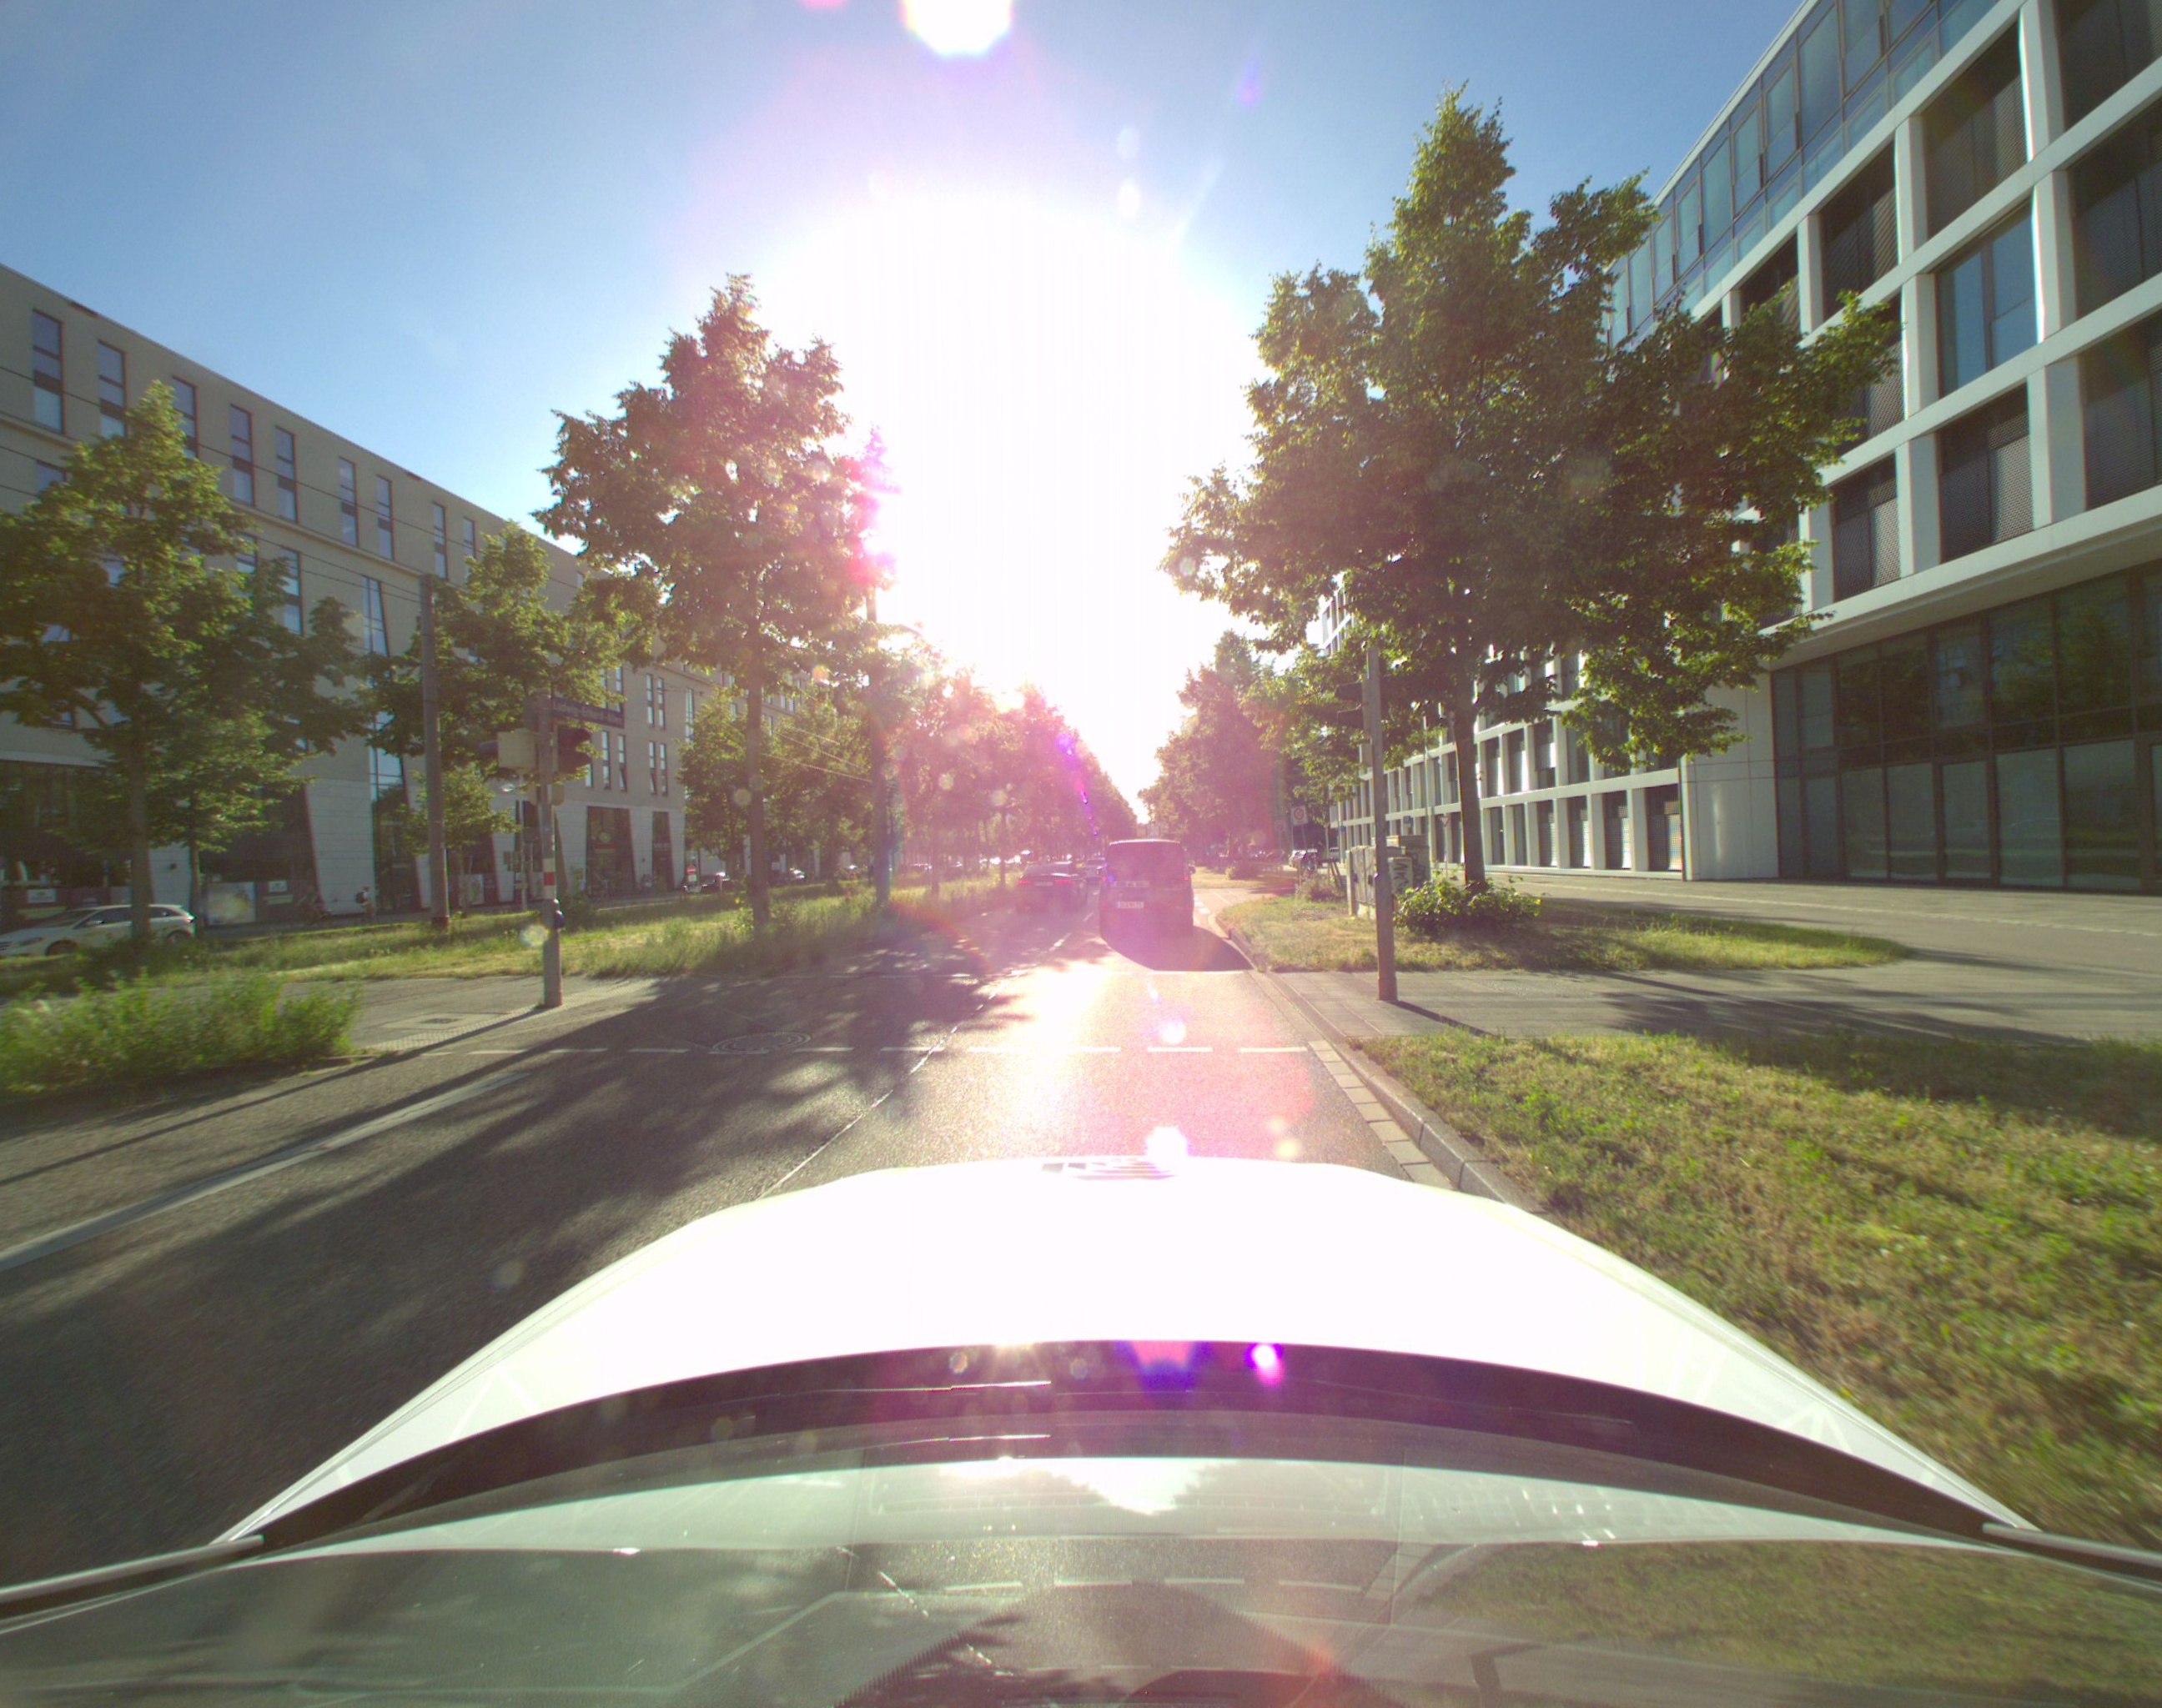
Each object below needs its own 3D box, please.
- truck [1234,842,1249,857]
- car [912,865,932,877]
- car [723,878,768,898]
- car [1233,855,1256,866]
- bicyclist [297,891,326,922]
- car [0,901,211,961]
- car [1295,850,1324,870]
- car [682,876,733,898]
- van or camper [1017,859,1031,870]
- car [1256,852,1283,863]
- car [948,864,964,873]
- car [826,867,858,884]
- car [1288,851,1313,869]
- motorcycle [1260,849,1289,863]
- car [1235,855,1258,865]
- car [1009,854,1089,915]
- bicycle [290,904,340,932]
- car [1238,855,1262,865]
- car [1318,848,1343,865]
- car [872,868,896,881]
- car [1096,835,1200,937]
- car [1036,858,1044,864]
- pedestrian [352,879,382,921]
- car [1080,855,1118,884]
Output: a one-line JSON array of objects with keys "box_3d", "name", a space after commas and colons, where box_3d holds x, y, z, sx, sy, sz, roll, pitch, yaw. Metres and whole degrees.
[{"box_3d": [27.642, -0.697, 140.220, 1.823, 2.501, 5.940, -2, -1, 5], "name": "truck"}, {"box_3d": [-20.926, 2.234, 107.455, 1.572, 1.342, 3.717, -2, 0, 5], "name": "car"}, {"box_3d": [-25.787, 2.593, 62.697, 1.572, 1.342, 3.717, -2, 0, 5], "name": "car"}, {"box_3d": [24.174, 0.963, 120.403, 3.376, 1.358, 1.475, -2, 0, 11], "name": "car"}, {"box_3d": [-33.709, 2.296, 35.672, 0.575, 1.293, 0.706, -1, -1, 6], "name": "bicyclist"}, {"box_3d": [-29.204, 2.232, 24.217, 1.572, 1.342, 4.478, -2, 0, 5], "name": "car"}, {"box_3d": [19.502, 0.501, 69.669, 1.749, 1.611, 3.911, -2, 0, 7], "name": "car"}, {"box_3d": [-26.088, 2.299, 56.975, 1.572, 1.342, 3.717, -2, 0, 5], "name": "car"}, {"box_3d": [-9.819, 1.735, 139.613, 1.812, 1.738, 3.717, -2, 0, 5], "name": "van or camper"}, {"box_3d": [25.069, 0.444, 108.451, 3.376, 1.358, 1.475, -2, 0, 11], "name": "car"}, {"box_3d": [-19.639, 2.274, 128.202, 1.572, 1.342, 3.717, -2, 0, 5], "name": "car"}, {"box_3d": [-24.044, 2.115, 82.029, 1.767, 1.528, 3.811, -2, 0, 5], "name": "car"}, {"box_3d": [20.078, 0.508, 74.562, 1.809, 1.532, 3.445, -2, 0, 9], "name": "car"}, {"box_3d": [23.978, 0.222, 100.892, 3.376, 1.663, 1.475, -2, 0, 11], "name": "motorcycle"}, {"box_3d": [24.885, 0.898, 122.659, 3.376, 1.358, 1.475, -2, 0, 11], "name": "car"}, {"box_3d": [-0.830, 0.801, 23.567, 1.800, 1.527, 4.118, -2, 0, 4], "name": "car"}, {"box_3d": [-33.676, 2.795, 35.819, 0.526, 1.111, 1.640, -1, -1, 5], "name": "bicycle"}, {"box_3d": [24.397, 0.830, 117.581, 3.376, 1.358, 1.475, -2, 0, 11], "name": "car"}, {"box_3d": [28.455, 0.259, 93.079, 1.983, 1.816, 4.008, -1, -1, 7], "name": "car"}, {"box_3d": [-22.979, 2.351, 95.230, 1.572, 1.342, 3.717, -2, 0, 5], "name": "car"}, {"box_3d": [1.270, 0.578, 16.527, 1.801, 1.794, 4.115, -1, 0, 2], "name": "car"}, {"box_3d": [-11.375, 1.881, 224.596, 1.594, 1.556, 4.006, -2, 0, 5], "name": "car"}, {"box_3d": [-31.291, 2.008, 35.692, 0.576, 1.812, 0.800, -1, -1, 1], "name": "pedestrian"}, {"box_3d": [1.036, 0.831, 44.460, 1.800, 1.434, 4.118, -2, 0, 4], "name": "car"}]
